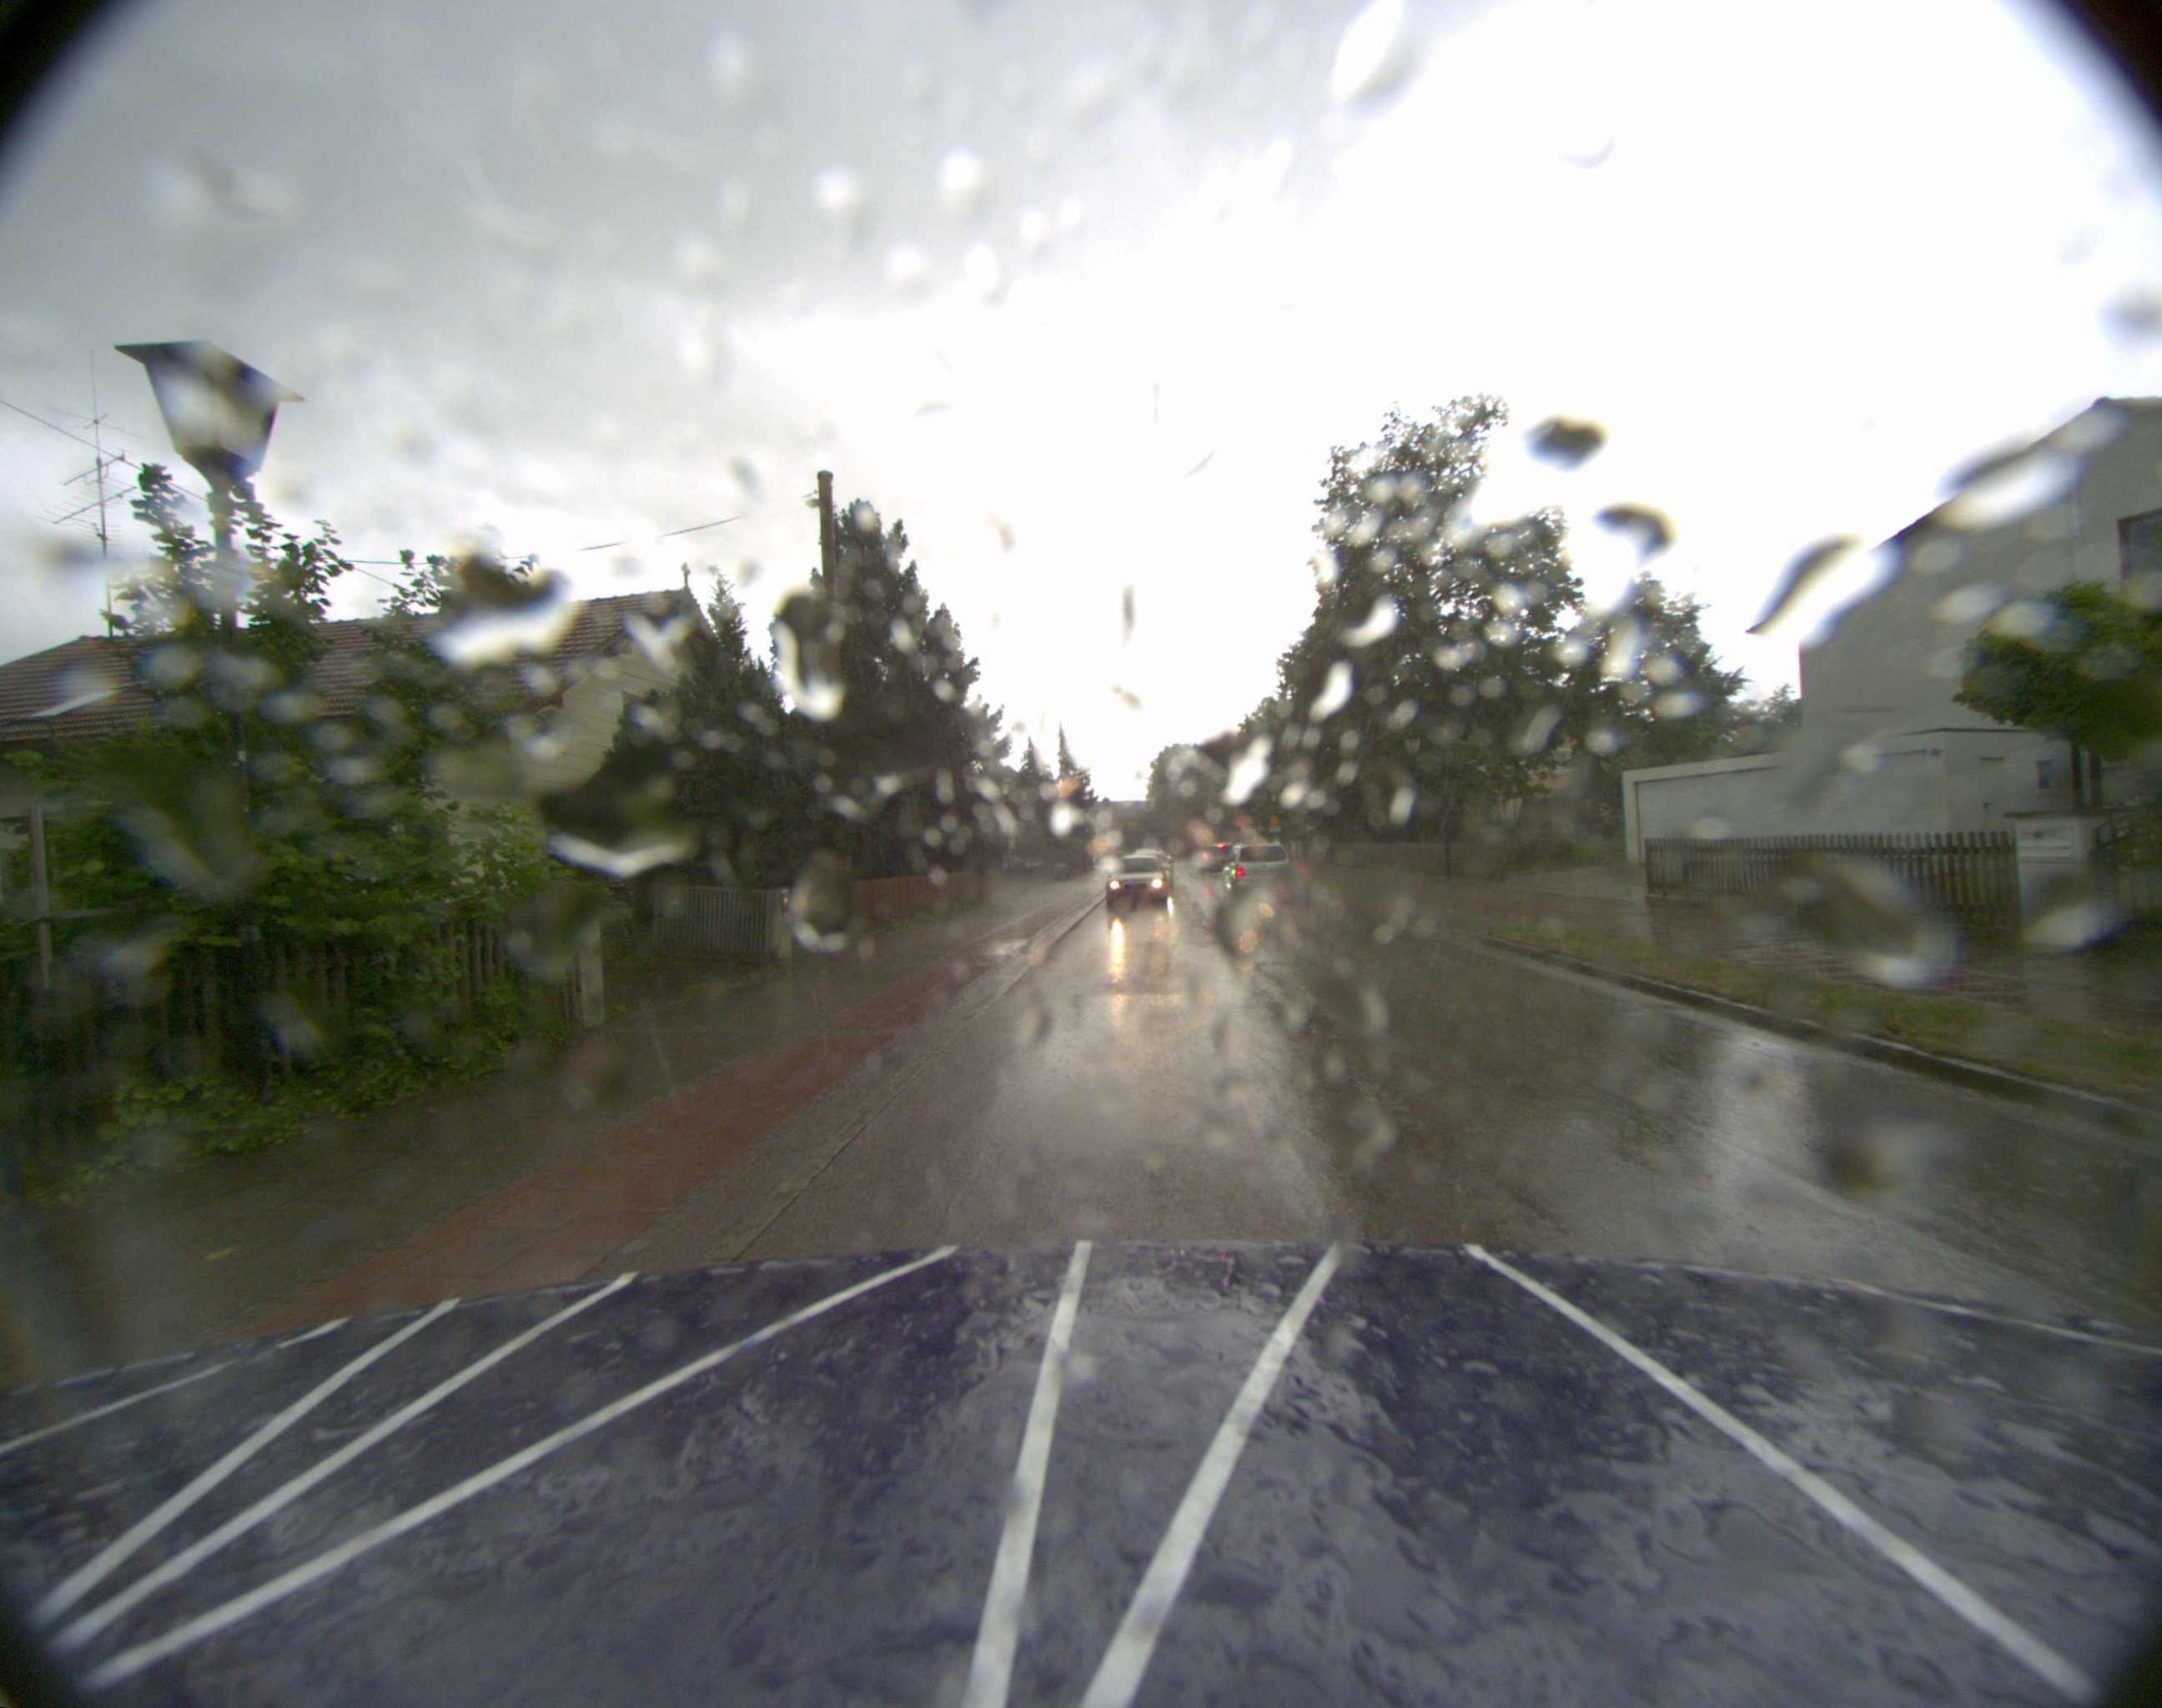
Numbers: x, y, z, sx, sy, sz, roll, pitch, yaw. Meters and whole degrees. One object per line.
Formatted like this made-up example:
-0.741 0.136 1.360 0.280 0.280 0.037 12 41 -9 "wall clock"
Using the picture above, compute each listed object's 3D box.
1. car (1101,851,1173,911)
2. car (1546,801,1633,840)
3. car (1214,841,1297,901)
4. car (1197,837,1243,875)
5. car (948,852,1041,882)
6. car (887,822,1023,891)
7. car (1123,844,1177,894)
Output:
1.716 0.721 22.547 1.871 1.512 4.189 -3 1 6 "car"
29.763 -1.935 44.549 1.844 1.792 3.650 -6 0 -28 "car"
5.262 0.452 23.398 1.757 1.668 4.000 -1 1 3 "car"
6.927 0.054 38.255 1.926 1.734 4.193 -2 1 6 "car"
-4.244 0.636 37.853 4.441 1.413 1.830 0 1 -2 "car"
-5.075 0.096 31.203 5.318 2.712 1.999 0 1 -4 "car"
2.808 0.530 30.688 1.871 1.603 4.962 -5 1 6 "car"
